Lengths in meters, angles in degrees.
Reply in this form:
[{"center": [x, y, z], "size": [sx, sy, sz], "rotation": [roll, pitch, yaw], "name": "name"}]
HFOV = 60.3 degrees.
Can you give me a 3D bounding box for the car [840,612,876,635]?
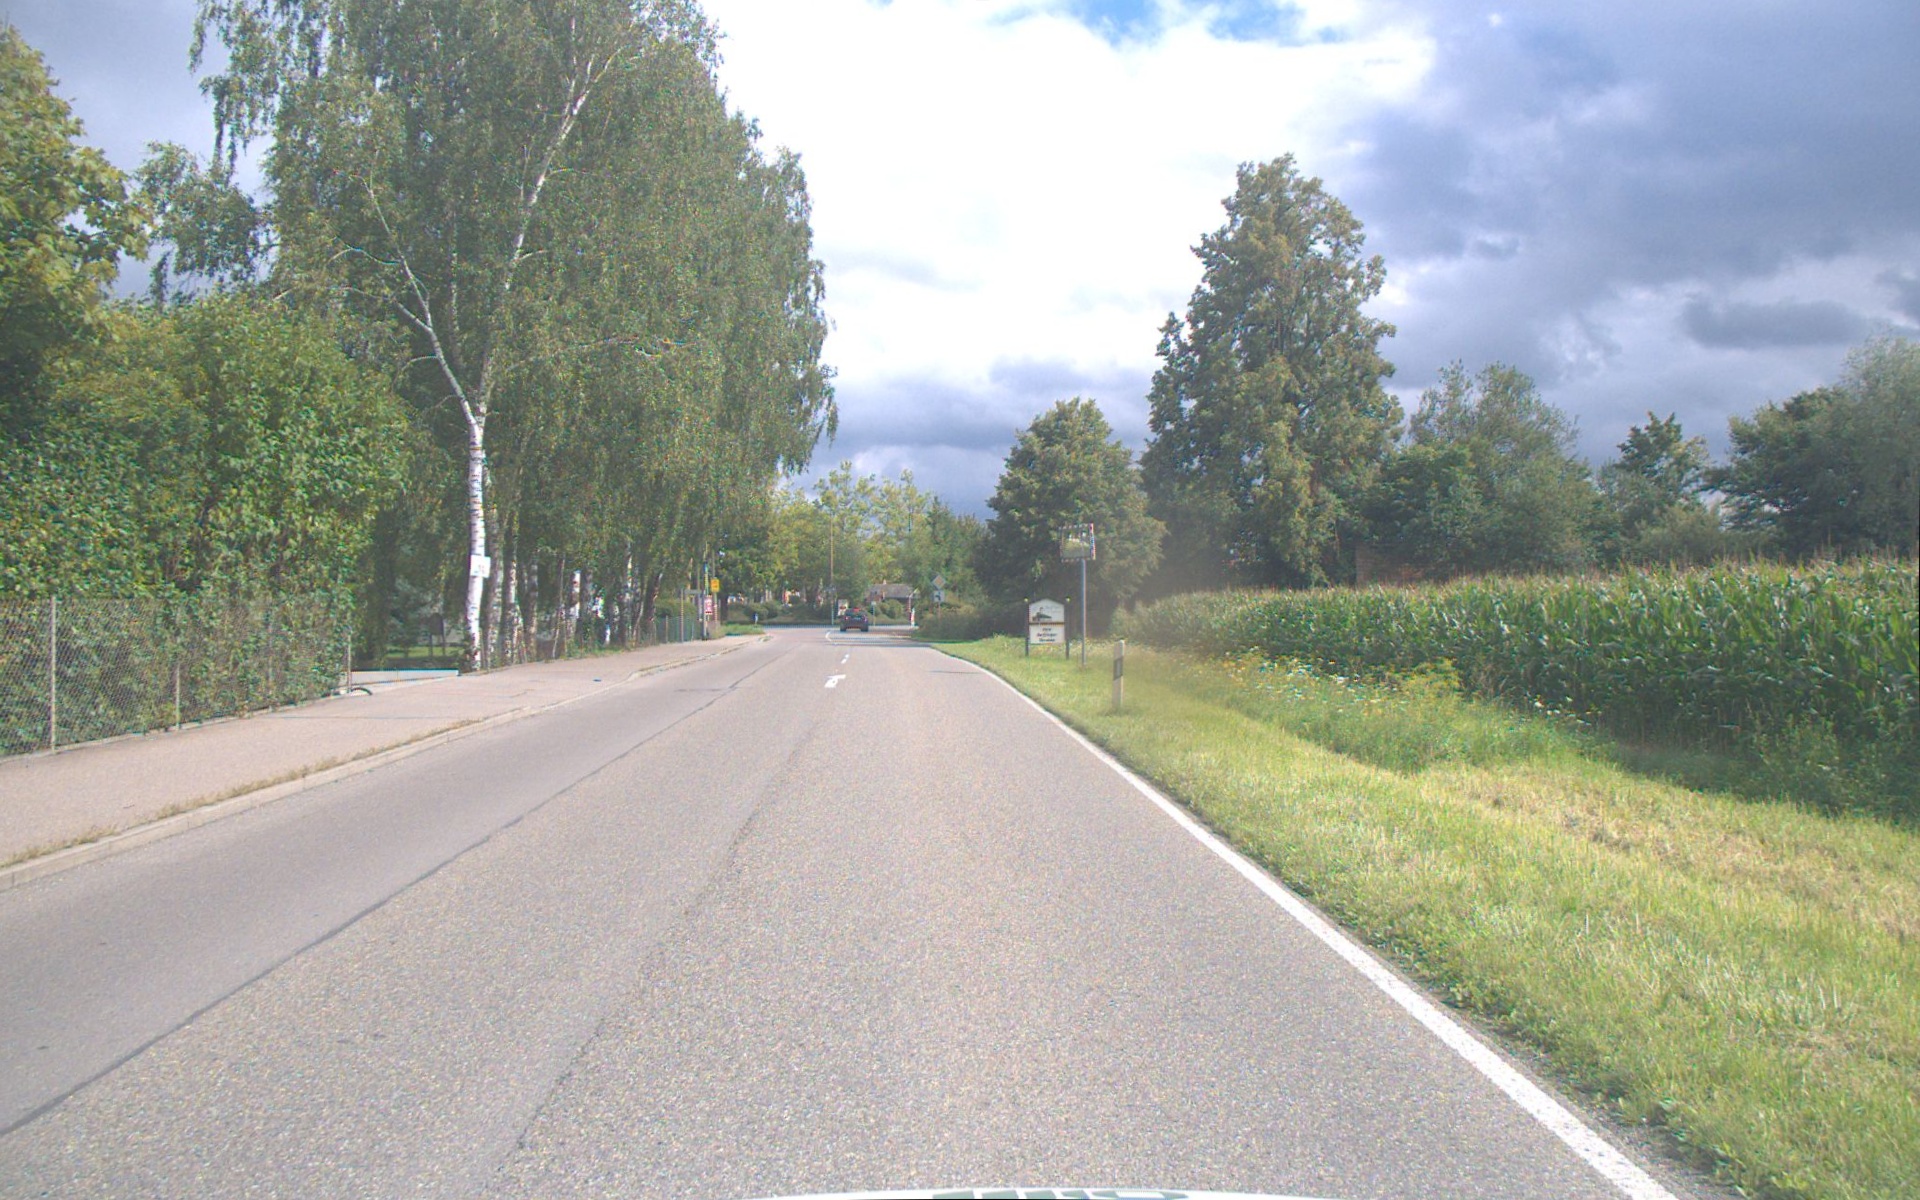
[{"center": [-7.464, 1.716, 120.775], "size": [1.960, 1.612, 3.986], "rotation": [0, 0, -14], "name": "car"}]
